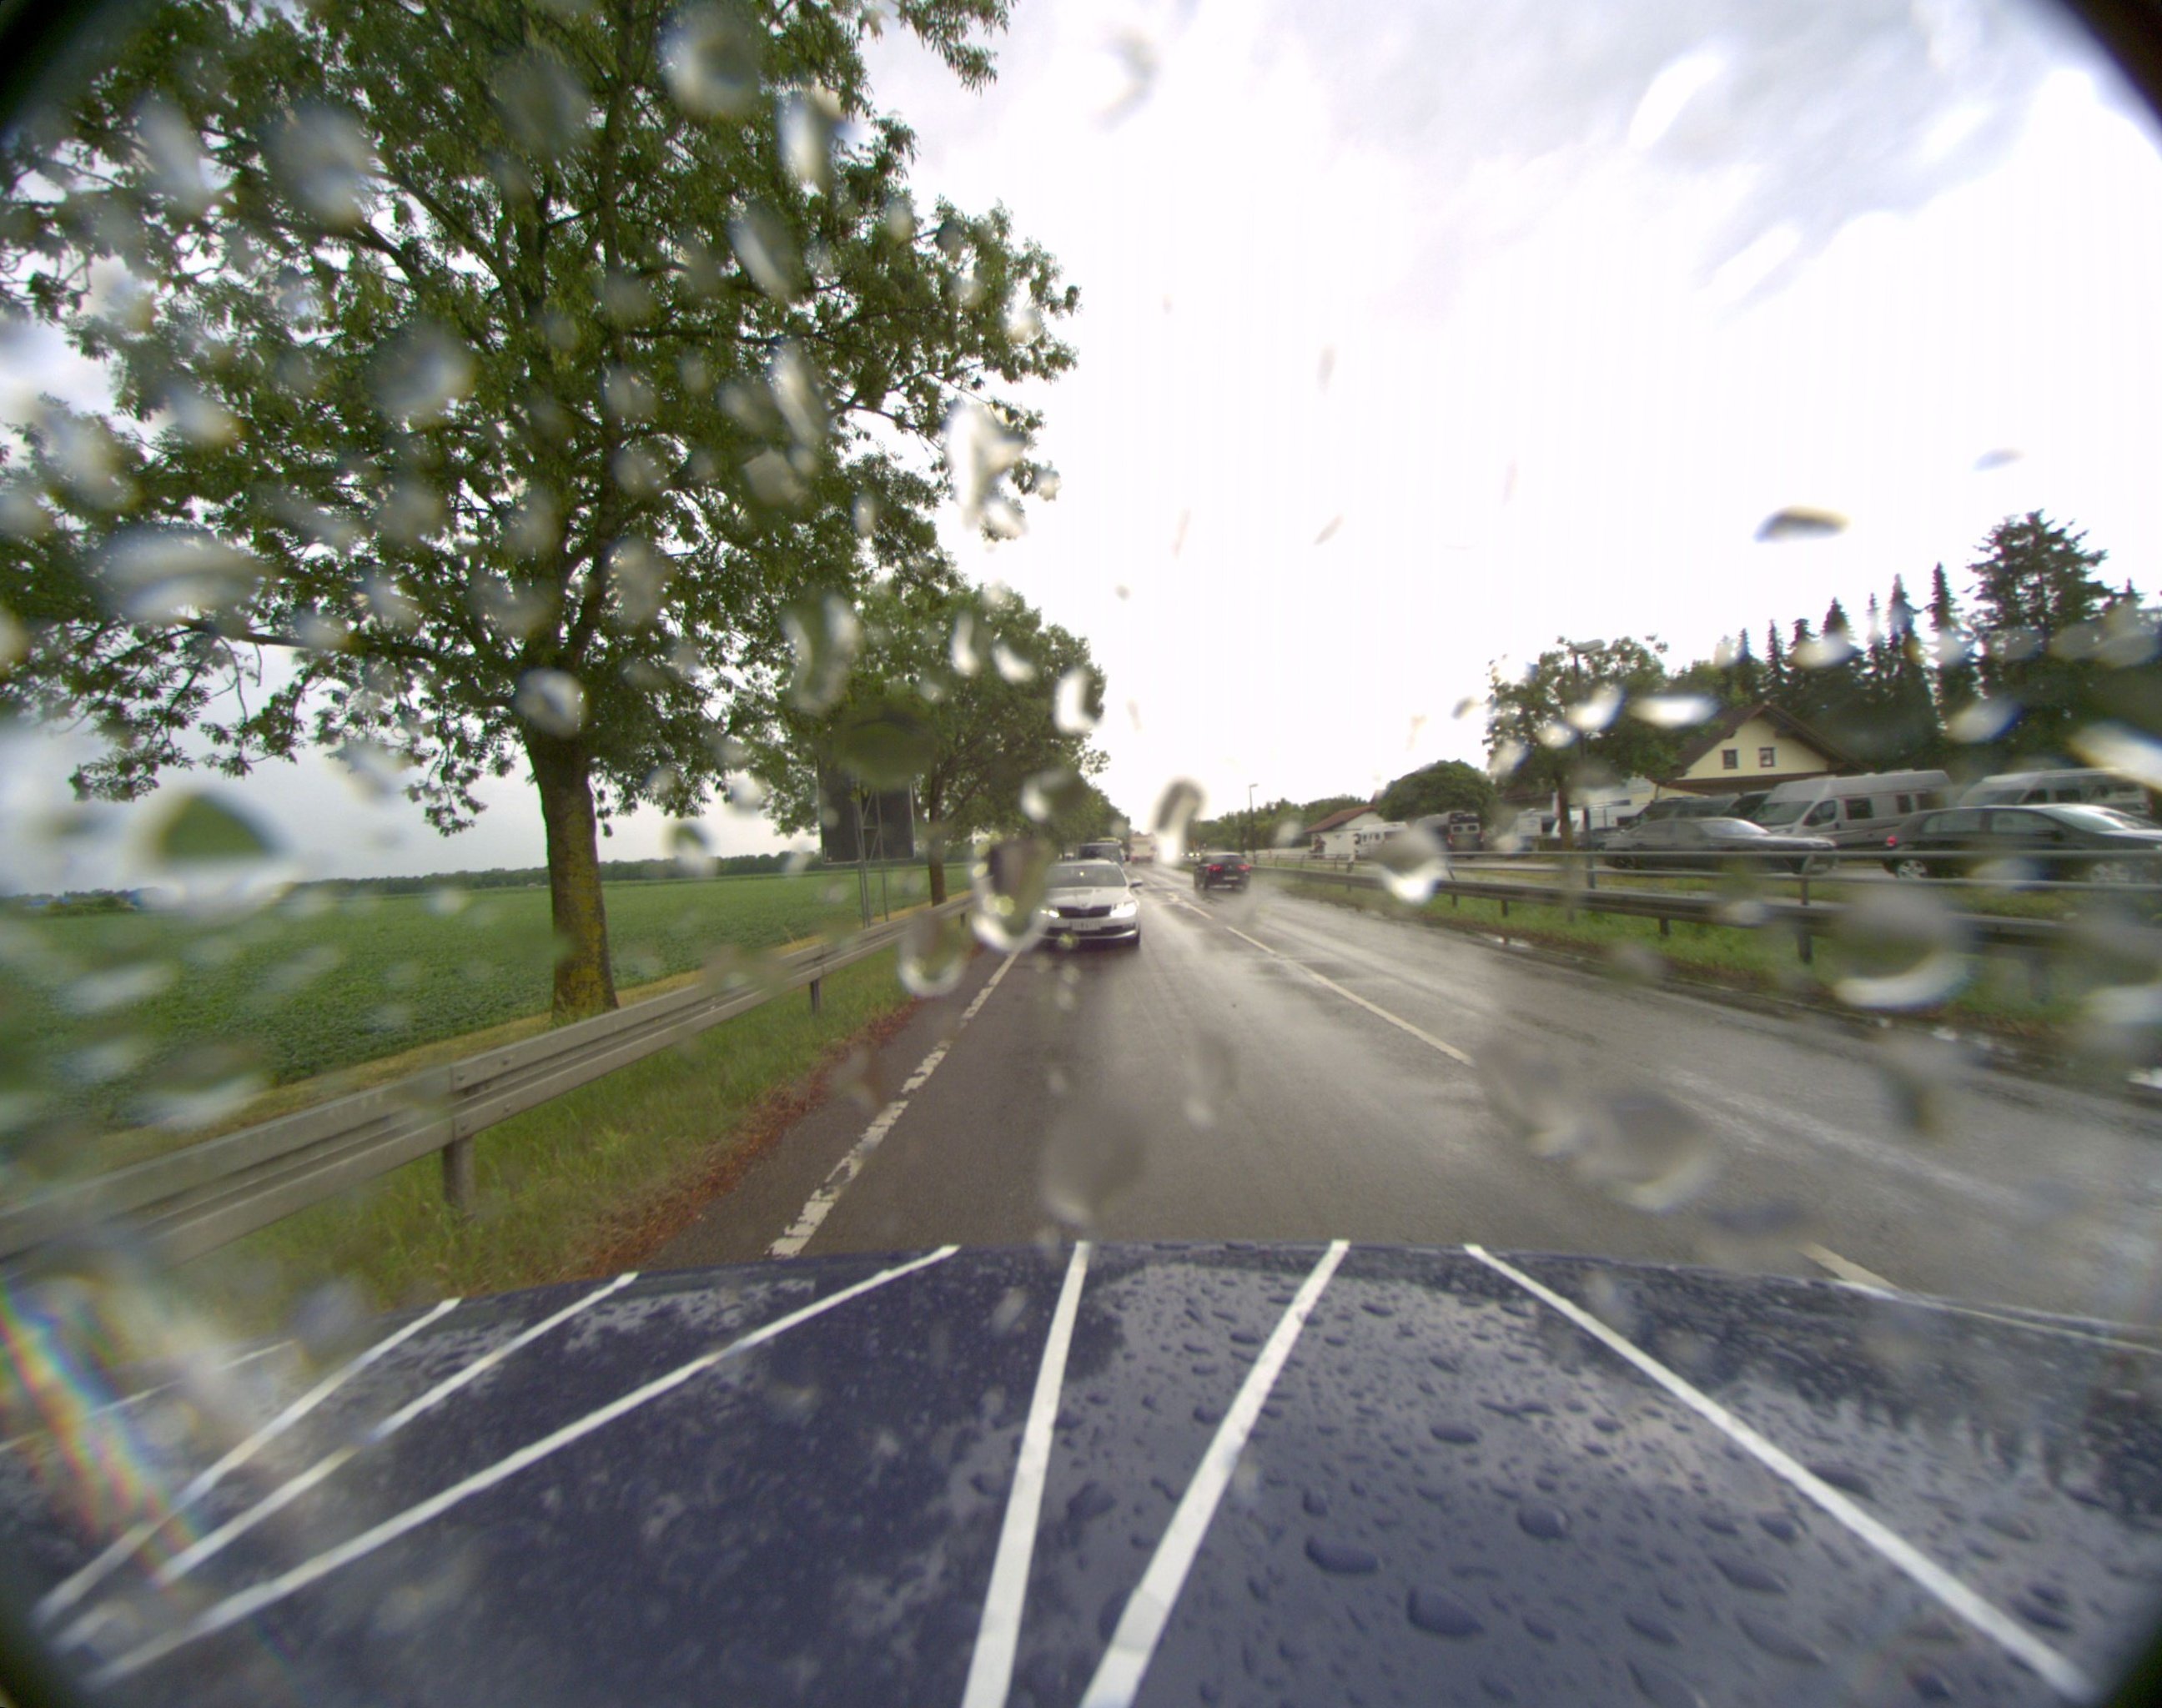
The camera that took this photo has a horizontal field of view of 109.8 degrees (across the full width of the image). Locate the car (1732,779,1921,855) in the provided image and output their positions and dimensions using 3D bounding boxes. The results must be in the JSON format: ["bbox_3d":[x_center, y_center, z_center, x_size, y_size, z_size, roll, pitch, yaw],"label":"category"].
[{"bbox_3d":[27.783,-1.350,28.433,5.105,2.445,2.000,-3,0,-1],"label":"car"}]

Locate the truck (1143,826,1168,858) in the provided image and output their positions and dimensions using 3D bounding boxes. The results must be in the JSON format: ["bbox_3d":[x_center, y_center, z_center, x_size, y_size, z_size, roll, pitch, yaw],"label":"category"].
[{"bbox_3d":[12.209,-1.904,125.177,3.256,5.004,7.783,-4,0,1],"label":"truck"}]

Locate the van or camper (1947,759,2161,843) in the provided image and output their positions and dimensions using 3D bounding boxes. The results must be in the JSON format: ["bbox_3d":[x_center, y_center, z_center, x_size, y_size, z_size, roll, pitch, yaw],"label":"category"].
[{"bbox_3d":[35.337,-1.873,27.482,5.820,2.575,2.000,-3,1,-2],"label":"van or camper"}]

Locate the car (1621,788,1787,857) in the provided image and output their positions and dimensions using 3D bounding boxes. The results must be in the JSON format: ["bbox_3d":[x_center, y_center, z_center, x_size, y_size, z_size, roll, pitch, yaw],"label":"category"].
[{"bbox_3d":[25.753,-1.272,31.509,5.196,2.487,2.000,-3,0,-1],"label":"car"}]

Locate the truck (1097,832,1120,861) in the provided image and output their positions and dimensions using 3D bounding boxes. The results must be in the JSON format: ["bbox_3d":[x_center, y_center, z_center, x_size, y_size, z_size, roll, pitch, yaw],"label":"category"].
[{"bbox_3d":[3.736,-0.952,101.265,2.751,3.547,8.387,-3,0,2],"label":"truck"}]

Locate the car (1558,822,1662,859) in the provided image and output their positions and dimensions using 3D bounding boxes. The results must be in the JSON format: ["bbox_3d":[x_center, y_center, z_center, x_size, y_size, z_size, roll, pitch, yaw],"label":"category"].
[{"bbox_3d":[25.725,-0.647,37.007,3.894,1.487,1.540,-3,0,1],"label":"car"}]

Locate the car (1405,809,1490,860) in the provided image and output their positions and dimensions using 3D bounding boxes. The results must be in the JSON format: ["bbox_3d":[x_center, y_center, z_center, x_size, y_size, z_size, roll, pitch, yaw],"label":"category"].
[{"bbox_3d":[21.904,-1.136,45.743,2.389,2.747,5.573,-3,0,1],"label":"car"}]

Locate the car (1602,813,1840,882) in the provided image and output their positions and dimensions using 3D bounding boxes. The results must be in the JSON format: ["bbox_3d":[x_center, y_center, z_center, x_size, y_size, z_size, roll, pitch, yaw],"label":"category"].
[{"bbox_3d":[15.721,-0.140,19.139,1.519,1.482,5.120,-2,0,-2],"label":"car"}]

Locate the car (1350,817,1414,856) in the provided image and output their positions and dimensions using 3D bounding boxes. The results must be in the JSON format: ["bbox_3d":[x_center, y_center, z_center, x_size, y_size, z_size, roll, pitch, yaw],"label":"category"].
[{"bbox_3d":[21.711,-1.203,55.055,2.242,2.565,6.019,-3,0,1],"label":"car"}]

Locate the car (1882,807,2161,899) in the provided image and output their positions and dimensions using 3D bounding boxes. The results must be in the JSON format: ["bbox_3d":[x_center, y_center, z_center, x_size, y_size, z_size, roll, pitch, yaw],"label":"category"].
[{"bbox_3d":[16.104,-0.025,12.654,1.286,1.323,3.897,-2,0,-3],"label":"car"}]

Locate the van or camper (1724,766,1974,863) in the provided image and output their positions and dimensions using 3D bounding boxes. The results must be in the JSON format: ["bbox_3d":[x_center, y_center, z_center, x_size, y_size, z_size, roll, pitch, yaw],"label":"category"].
[{"bbox_3d":[24.637,-1.228,24.539,5.890,2.662,2.081,-3,1,0],"label":"van or camper"}]

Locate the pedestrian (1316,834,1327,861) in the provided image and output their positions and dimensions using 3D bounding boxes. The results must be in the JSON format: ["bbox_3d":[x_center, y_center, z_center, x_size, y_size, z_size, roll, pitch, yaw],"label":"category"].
[{"bbox_3d":[16.027,-0.434,50.554,0.516,1.701,0.650,-3,1,9],"label":"pedestrian"}]

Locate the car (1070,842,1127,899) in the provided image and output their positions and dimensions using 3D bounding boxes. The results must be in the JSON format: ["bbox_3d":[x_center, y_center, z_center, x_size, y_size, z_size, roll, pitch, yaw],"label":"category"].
[{"bbox_3d":[0.627,0.554,27.814,1.903,1.884,4.000,-1,0,1],"label":"car"}]

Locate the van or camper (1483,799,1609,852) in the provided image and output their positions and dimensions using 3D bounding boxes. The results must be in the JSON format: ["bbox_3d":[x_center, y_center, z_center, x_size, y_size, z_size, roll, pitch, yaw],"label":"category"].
[{"bbox_3d":[28.392,-1.685,46.561,6.068,2.785,2.434,-3,0,0],"label":"van or camper"}]

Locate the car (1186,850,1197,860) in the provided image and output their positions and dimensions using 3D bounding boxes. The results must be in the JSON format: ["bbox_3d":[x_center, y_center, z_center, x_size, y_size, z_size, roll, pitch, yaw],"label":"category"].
[{"bbox_3d":[22.163,0.217,152.866,1.683,2.002,3.999,-2,1,1],"label":"car"}]

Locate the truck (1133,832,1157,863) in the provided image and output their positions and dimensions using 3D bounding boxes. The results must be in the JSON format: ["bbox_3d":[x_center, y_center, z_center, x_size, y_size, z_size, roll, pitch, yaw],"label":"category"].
[{"bbox_3d":[7.507,-0.771,90.147,2.582,3.432,9.558,-1,0,4],"label":"truck"}]

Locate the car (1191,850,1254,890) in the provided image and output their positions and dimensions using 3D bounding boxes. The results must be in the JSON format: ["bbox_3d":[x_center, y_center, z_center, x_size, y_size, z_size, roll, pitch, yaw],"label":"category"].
[{"bbox_3d":[5.486,0.581,29.832,1.718,1.442,4.111,-2,0,1],"label":"car"}]

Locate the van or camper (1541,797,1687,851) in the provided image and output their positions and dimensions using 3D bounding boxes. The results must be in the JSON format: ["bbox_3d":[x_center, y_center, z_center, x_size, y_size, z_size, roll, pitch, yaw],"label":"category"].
[{"bbox_3d":[29.654,-1.627,42.425,6.239,2.576,2.562,-3,0,0],"label":"van or camper"}]

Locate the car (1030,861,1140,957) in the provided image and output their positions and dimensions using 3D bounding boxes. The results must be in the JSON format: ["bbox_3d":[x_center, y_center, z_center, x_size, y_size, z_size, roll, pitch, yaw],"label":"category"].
[{"bbox_3d":[0.094,0.885,13.953,1.705,1.438,4.000,-1,0,1],"label":"car"}]
